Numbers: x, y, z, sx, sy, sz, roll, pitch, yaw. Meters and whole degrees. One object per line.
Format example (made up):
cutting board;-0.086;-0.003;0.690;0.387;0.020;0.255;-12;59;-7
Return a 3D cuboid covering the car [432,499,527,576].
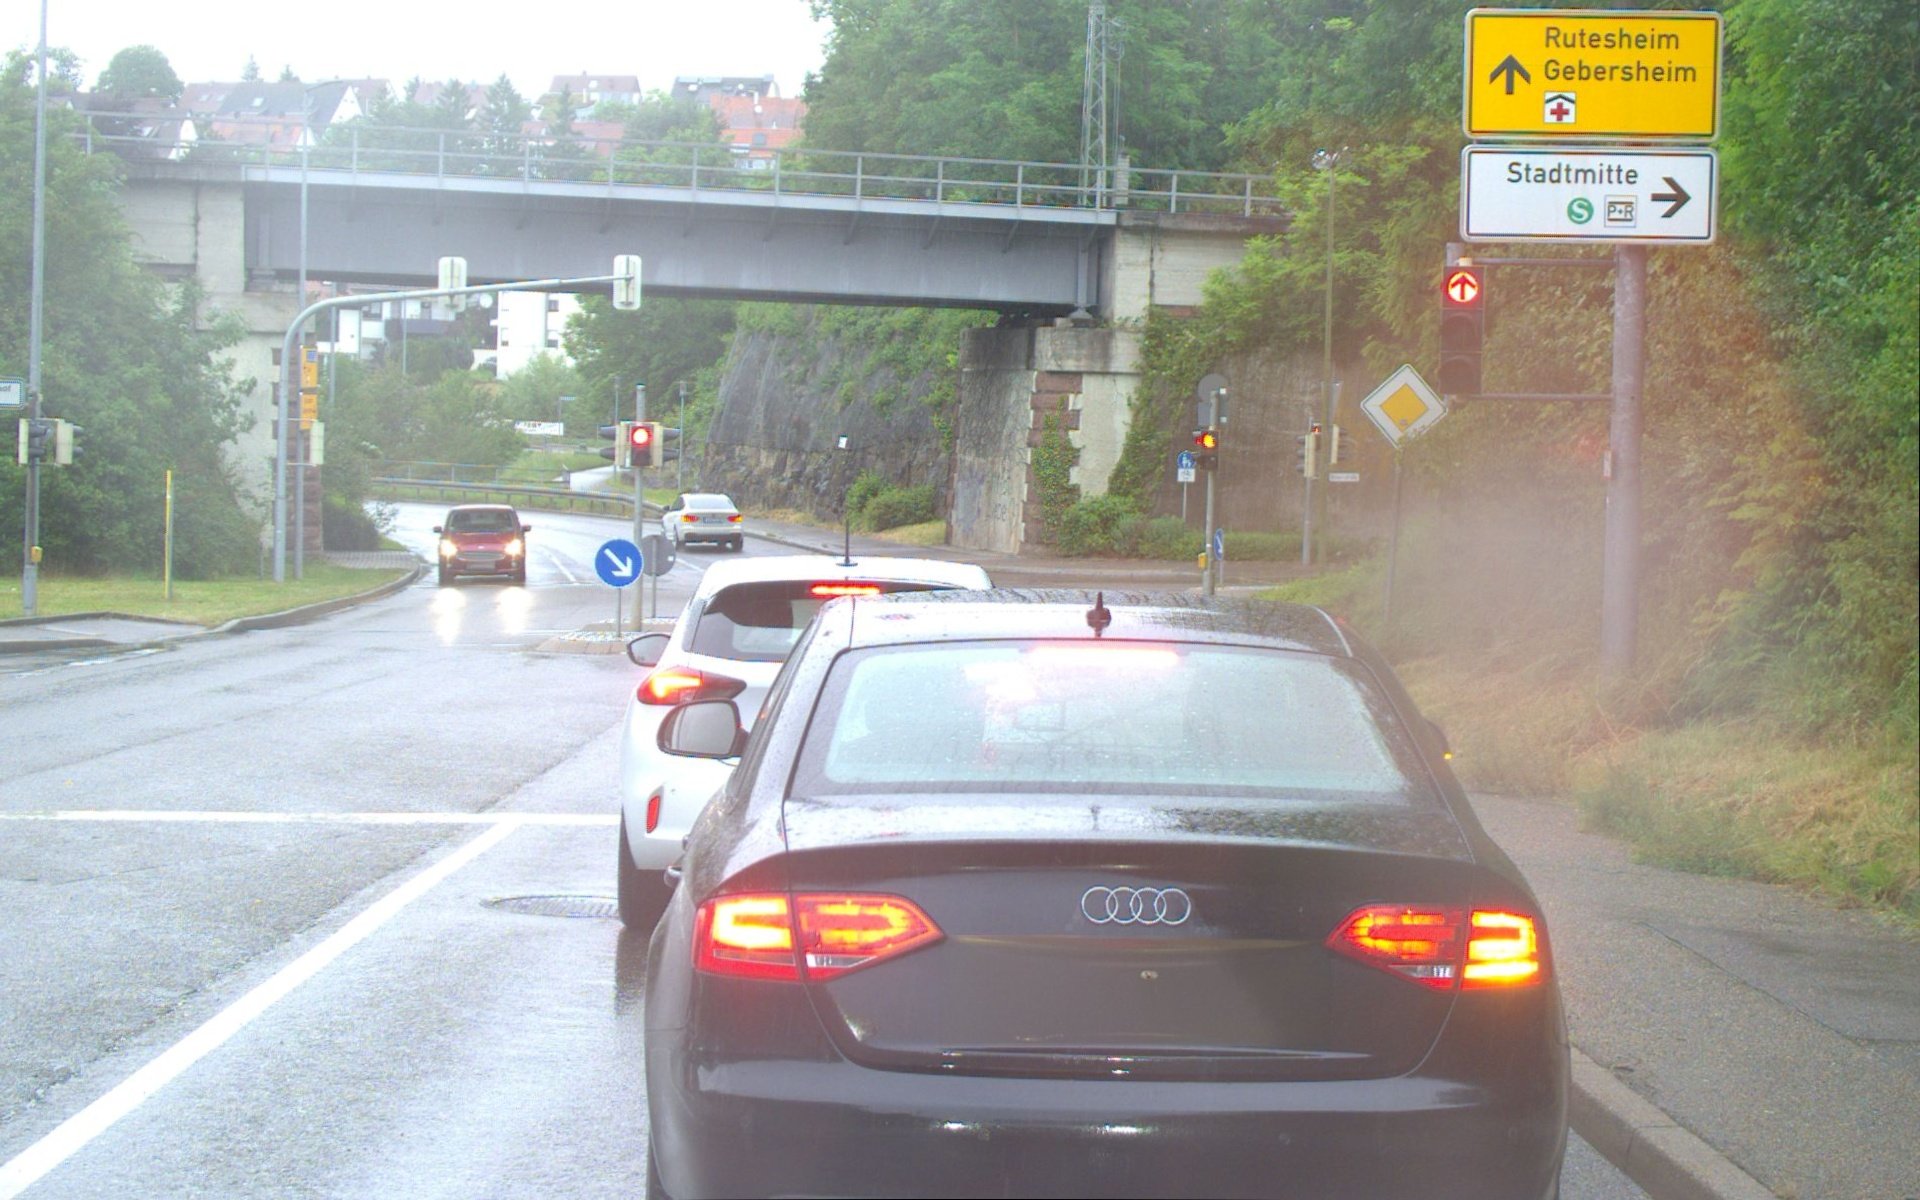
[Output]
car;-10.488;-1.373;75.233;1.993;1.622;4.001;0;1;-7

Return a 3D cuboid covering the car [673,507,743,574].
car;-6.873;-1.605;93.549;1.804;1.736;4.481;1;0;-5

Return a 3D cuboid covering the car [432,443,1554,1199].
car;0.031;0.505;7.737;1.870;1.611;4.000;0;1;-1

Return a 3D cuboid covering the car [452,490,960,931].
car;-0.947;0.400;14.454;1.823;1.579;4.000;1;0;-1
